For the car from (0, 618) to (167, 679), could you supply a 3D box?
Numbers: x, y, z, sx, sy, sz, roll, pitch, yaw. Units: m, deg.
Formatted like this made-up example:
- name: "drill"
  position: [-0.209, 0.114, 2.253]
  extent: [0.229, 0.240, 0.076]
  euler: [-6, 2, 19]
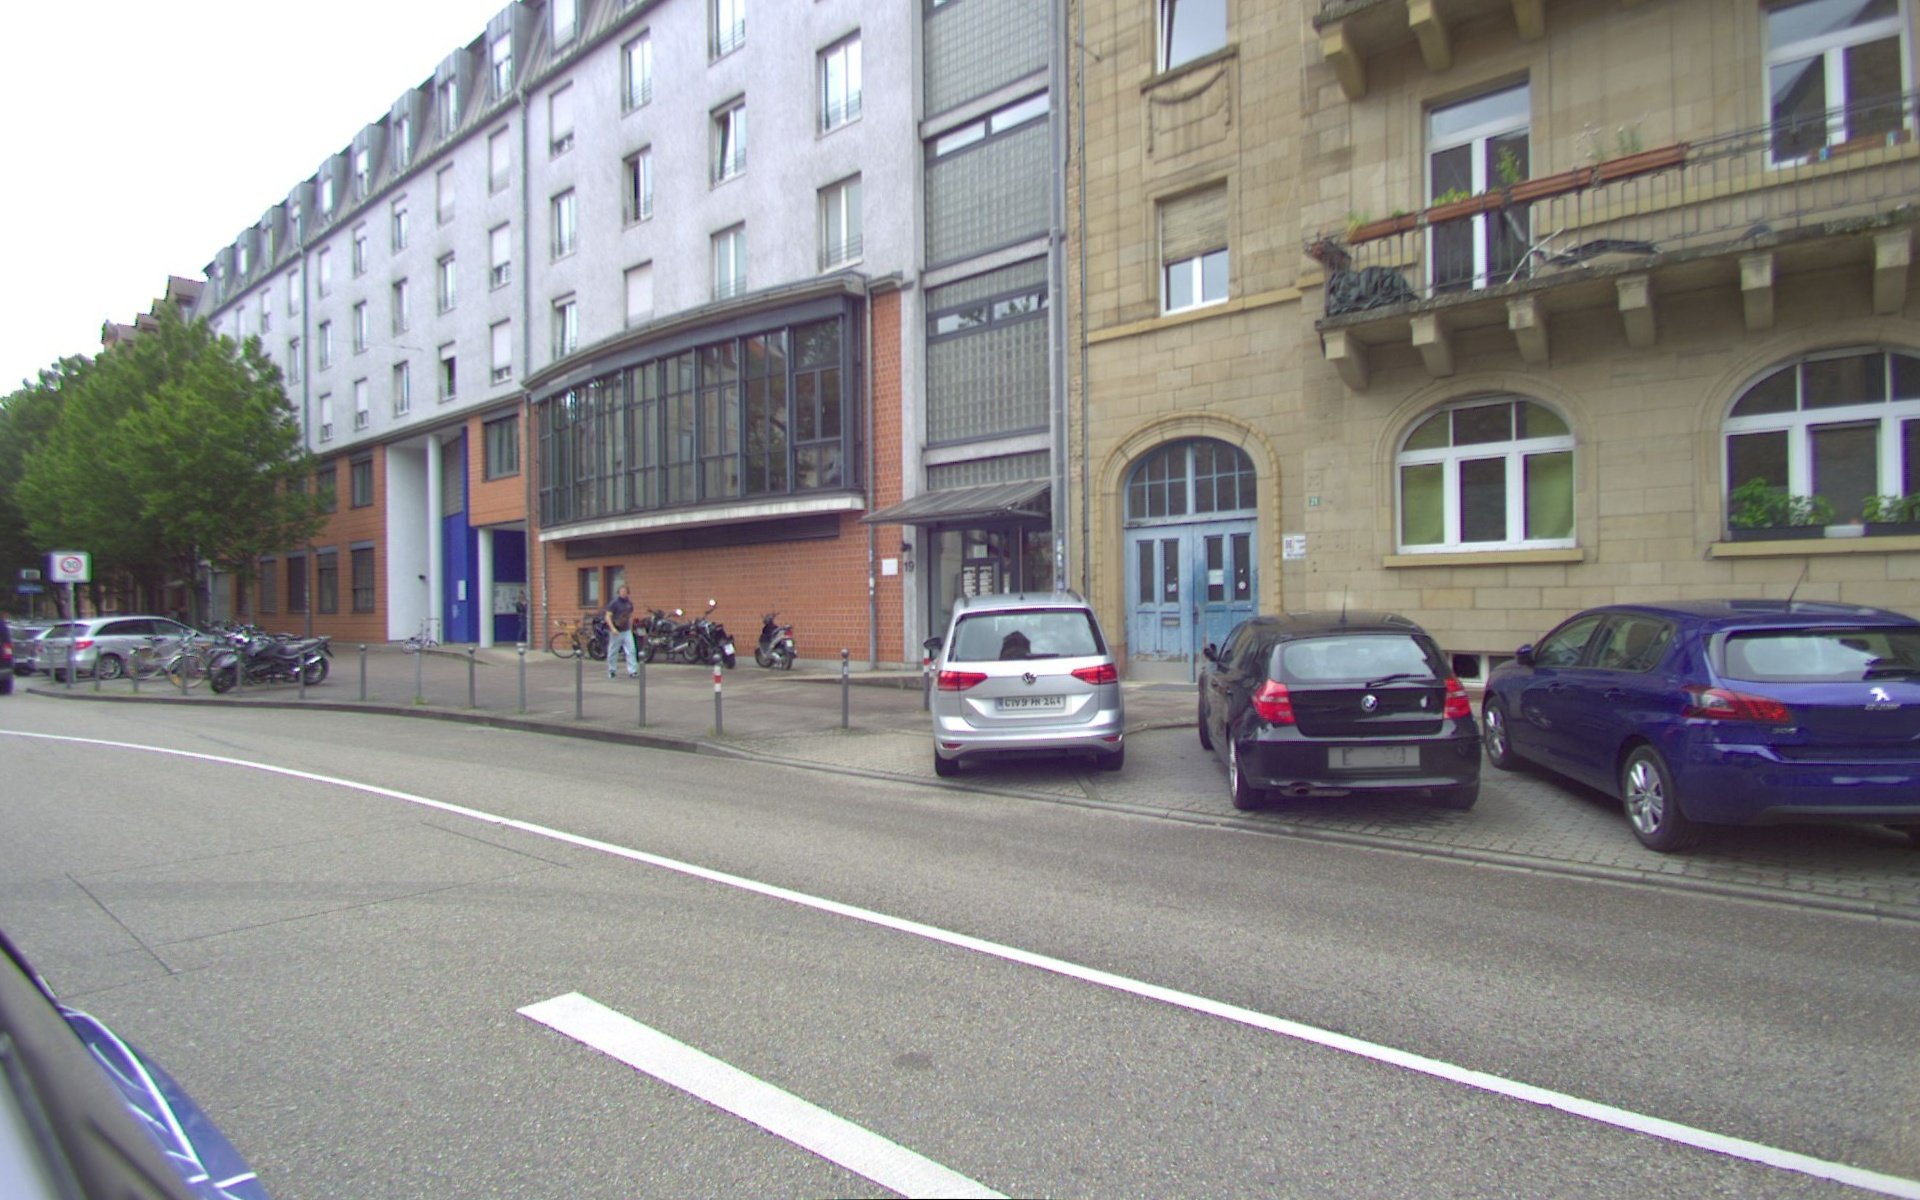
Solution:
- name: "car"
  position: [-26.005, 1.368, 29.650]
  extent: [1.983, 1.641, 3.977]
  euler: [-1, -1, 18]

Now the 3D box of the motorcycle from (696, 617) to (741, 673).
- name: "motorcycle"
  position: [-5.006, 0.915, 20.897]
  extent: [0.438, 1.106, 1.768]
  euler: [0, -1, -29]

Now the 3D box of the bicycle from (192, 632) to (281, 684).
- name: "bicycle"
  position: [-16.625, 1.316, 23.285]
  extent: [0.416, 1.082, 1.609]
  euler: [-1, 1, 39]

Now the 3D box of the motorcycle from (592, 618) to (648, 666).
- name: "motorcycle"
  position: [-8.047, 0.977, 23.935]
  extent: [1.762, 1.106, 0.440]
  euler: [-1, -1, 42]

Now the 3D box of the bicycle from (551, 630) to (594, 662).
- name: "bicycle"
  position: [-9.873, 1.152, 25.769]
  extent: [1.581, 0.793, 0.332]
  euler: [-1, -1, 42]

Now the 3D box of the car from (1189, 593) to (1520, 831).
- name: "car"
  position: [3.007, 0.736, 8.590]
  extent: [1.713, 1.449, 3.990]
  euler: [-2, 1, 9]

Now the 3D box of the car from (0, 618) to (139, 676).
- name: "car"
  position: [-28.225, 1.401, 31.309]
  extent: [1.983, 1.641, 3.977]
  euler: [-1, -1, 18]

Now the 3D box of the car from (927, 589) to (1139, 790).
- name: "car"
  position: [0.646, 0.726, 10.420]
  extent: [1.710, 1.565, 3.999]
  euler: [-2, 1, 1]

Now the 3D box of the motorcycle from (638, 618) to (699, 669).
- name: "motorcycle"
  position: [-6.522, 0.962, 22.631]
  extent: [1.762, 1.106, 0.440]
  euler: [-1, -1, 42]

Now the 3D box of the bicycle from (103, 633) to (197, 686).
- name: "bicycle"
  position: [-18.569, 1.344, 23.228]
  extent: [0.416, 1.082, 1.609]
  euler: [-1, 1, 39]

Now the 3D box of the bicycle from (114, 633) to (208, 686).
- name: "bicycle"
  position: [-18.159, 1.339, 23.027]
  extent: [0.416, 1.082, 1.609]
  euler: [-1, 1, 39]

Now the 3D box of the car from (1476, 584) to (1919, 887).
- name: "car"
  position: [5.165, 0.681, 6.986]
  extent: [1.804, 1.456, 3.737]
  euler: [-2, 1, 10]

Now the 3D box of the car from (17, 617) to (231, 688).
- name: "car"
  position: [-21.351, 1.290, 26.058]
  extent: [1.758, 1.641, 3.977]
  euler: [-1, -1, 18]

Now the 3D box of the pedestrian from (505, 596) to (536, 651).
- name: "pedestrian"
  position: [-13.482, 0.714, 31.068]
  extent: [0.622, 1.662, 0.677]
  euler: [-1, 0, 42]

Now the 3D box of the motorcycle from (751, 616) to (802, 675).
- name: "motorcycle"
  position: [-3.652, 0.882, 19.999]
  extent: [0.438, 1.106, 1.768]
  euler: [0, -1, -29]

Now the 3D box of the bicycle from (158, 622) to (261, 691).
- name: "bicycle"
  position: [-15.344, 1.132, 20.725]
  extent: [0.416, 1.299, 1.609]
  euler: [-1, 1, 39]

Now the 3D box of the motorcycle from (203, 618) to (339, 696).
- name: "motorcycle"
  position: [-13.520, 1.087, 19.922]
  extent: [0.599, 1.363, 2.096]
  euler: [-1, 1, 41]

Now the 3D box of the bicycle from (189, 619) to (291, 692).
- name: "bicycle"
  position: [-14.587, 1.094, 20.541]
  extent: [0.416, 1.363, 1.609]
  euler: [-1, 1, 39]

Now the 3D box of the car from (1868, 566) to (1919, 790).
- name: "car"
  position: [7.477, 0.560, 5.428]
  extent: [1.681, 1.565, 3.997]
  euler: [-2, 1, 3]

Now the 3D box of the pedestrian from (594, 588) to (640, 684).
- name: "pedestrian"
  position: [-6.682, 0.692, 19.730]
  extent: [0.642, 1.837, 0.613]
  euler: [-2, -1, 41]

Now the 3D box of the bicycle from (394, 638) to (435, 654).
- name: "bicycle"
  position: [-16.722, 1.408, 31.035]
  extent: [0.527, 0.440, 0.997]
  euler: [1, 0, 42]

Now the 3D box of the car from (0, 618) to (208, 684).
- name: "car"
  position: [-23.360, 1.329, 27.798]
  extent: [1.983, 1.641, 3.977]
  euler: [-1, -1, 18]

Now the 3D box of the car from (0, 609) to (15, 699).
- name: "car"
  position: [-21.460, 1.125, 21.327]
  extent: [4.124, 1.817, 1.677]
  euler: [-1, -2, 39]
